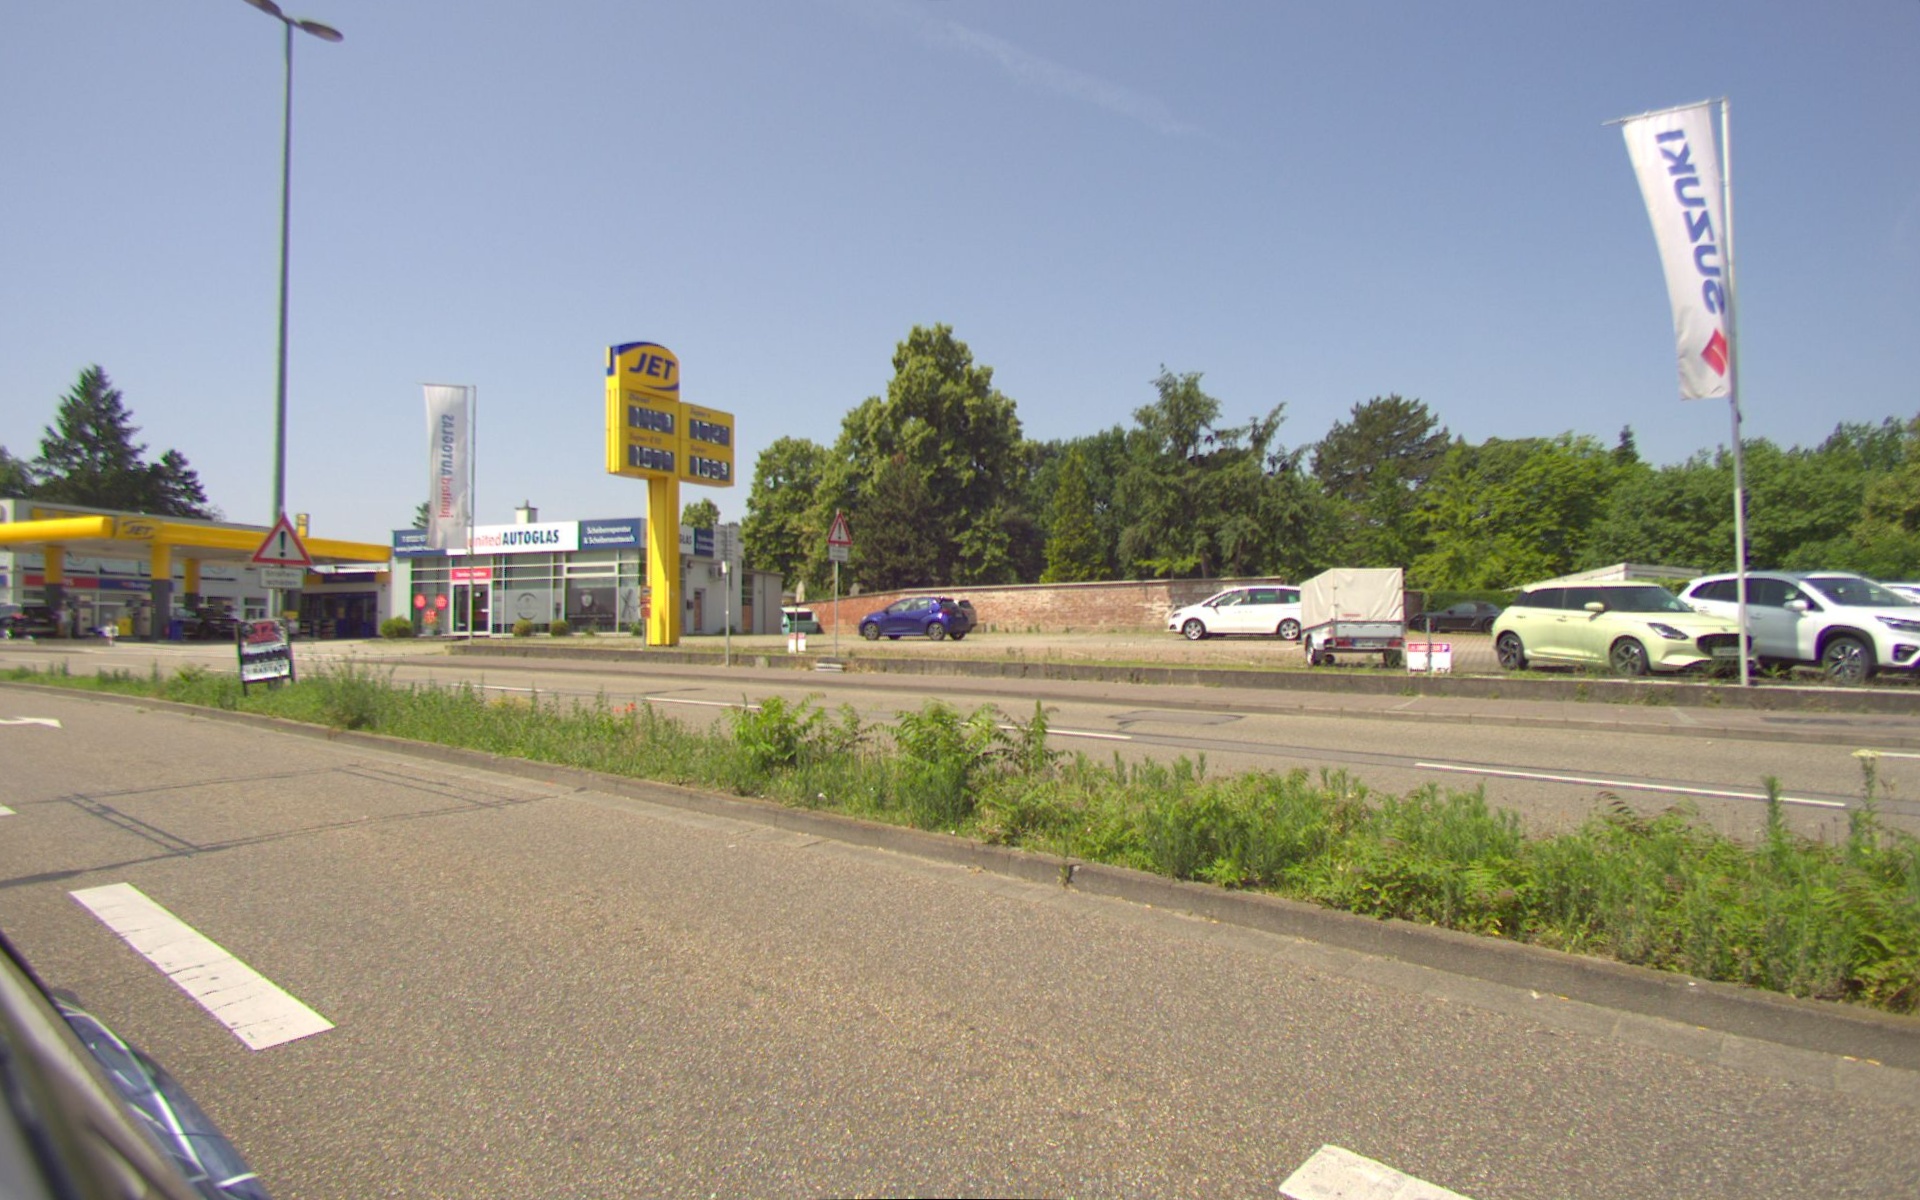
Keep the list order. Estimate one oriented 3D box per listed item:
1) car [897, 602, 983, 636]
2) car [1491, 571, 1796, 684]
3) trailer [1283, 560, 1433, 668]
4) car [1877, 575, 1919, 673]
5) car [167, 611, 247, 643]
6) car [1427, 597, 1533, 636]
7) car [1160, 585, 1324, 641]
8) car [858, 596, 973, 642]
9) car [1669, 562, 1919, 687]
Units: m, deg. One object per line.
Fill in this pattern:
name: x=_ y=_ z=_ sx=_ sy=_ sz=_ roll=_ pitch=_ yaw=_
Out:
car: x=-0.917 y=0.876 z=46.078 sx=3.613 sy=1.517 sz=1.605 roll=-1 pitch=-1 yaw=27
car: x=10.366 y=0.368 z=15.734 sx=1.729 sy=1.521 sz=3.828 roll=-1 pitch=0 yaw=-10
trailer: x=6.803 y=0.234 z=17.535 sx=1.671 sy=1.717 sz=2.433 roll=-1 pitch=0 yaw=2
car: x=15.154 y=0.361 z=13.655 sx=1.689 sy=1.443 sz=3.968 roll=1 pitch=0 yaw=-7
car: x=-39.481 y=1.398 z=53.052 sx=4.190 sy=1.554 sz=1.642 roll=-1 pitch=0 yaw=26
car: x=19.161 y=0.590 z=37.323 sx=3.341 sy=1.384 sz=1.637 roll=-1 pitch=0 yaw=34
car: x=8.814 y=0.410 z=31.706 sx=4.730 sy=1.662 sz=1.680 roll=-1 pitch=-1 yaw=25
car: x=-1.548 y=0.661 z=34.755 sx=3.613 sy=1.517 sz=1.679 roll=-1 pitch=-1 yaw=27
car: x=12.754 y=0.296 z=14.672 sx=1.889 sy=1.552 sz=3.967 roll=-1 pitch=0 yaw=-6
